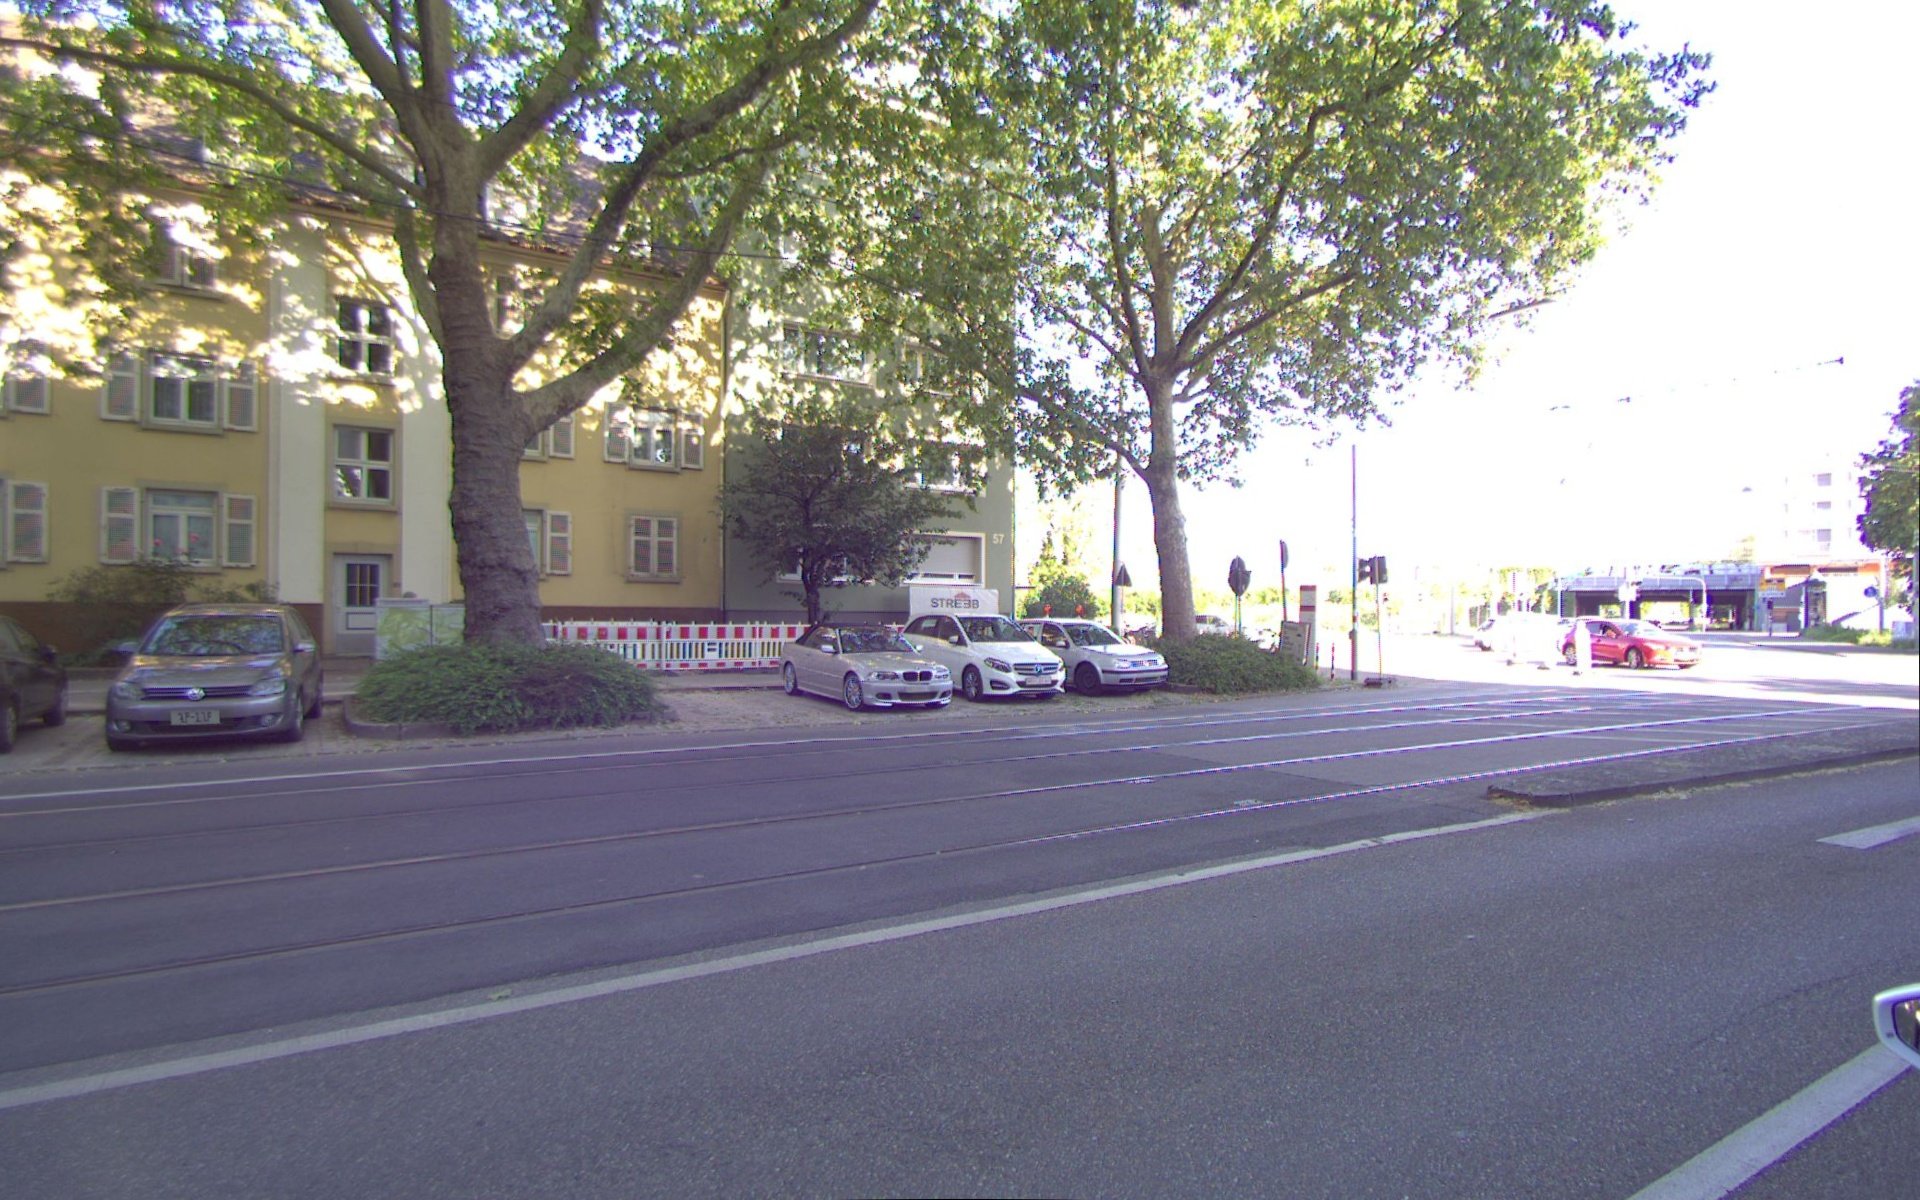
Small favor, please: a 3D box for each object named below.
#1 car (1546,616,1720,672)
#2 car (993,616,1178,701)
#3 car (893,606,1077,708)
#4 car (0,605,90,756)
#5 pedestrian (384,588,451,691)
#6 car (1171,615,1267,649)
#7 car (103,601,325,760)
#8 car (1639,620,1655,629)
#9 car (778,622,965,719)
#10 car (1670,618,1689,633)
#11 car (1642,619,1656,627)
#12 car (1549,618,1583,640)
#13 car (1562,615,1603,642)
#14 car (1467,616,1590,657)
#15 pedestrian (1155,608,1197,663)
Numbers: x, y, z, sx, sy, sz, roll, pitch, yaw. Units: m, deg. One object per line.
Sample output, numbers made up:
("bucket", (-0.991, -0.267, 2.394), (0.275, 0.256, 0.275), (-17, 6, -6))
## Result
("car", (20.635, 1.298, 31.060), (1.986, 1.586, 4.485), (1, -1, -8))
("car", (2.451, 1.113, 20.534), (1.651, 1.473, 3.949), (1, 0, -31))
("car", (0.361, 0.986, 19.159), (1.651, 1.669, 3.949), (1, 0, -31))
("car", (-11.454, 0.835, 11.389), (1.652, 1.518, 3.778), (1, 0, -29))
("pedestrian", (-9.203, 0.662, 17.033), (0.944, 1.683, 0.768), (2, 0, -31))
("car", (12.425, 1.485, 48.234), (4.134, 1.539, 1.799), (0, 0, 33))
("car", (-8.988, 0.835, 12.420), (1.652, 1.602, 3.953), (1, 0, -29))
("car", (94.869, 3.372, 138.705), (1.555, 1.277, 3.421), (0, -1, 30))
("car", (-1.639, 1.111, 17.314), (1.651, 1.370, 3.949), (1, 0, -31))
("car", (83.518, 2.980, 116.678), (1.731, 1.706, 3.729), (2, 0, 36))
("car", (111.173, 3.754, 162.087), (1.555, 1.277, 3.421), (0, -1, 30))
("car", (46.523, 2.206, 77.126), (1.860, 1.606, 3.823), (2, 0, 37))
("car", (39.399, 1.799, 63.563), (1.860, 1.606, 3.823), (2, 0, 37))
("car", (24.211, 1.526, 42.924), (4.111, 1.572, 1.999), (2, 0, 12))
("pedestrian", (6.719, 1.112, 31.279), (0.919, 1.669, 0.841), (2, 0, -30))
